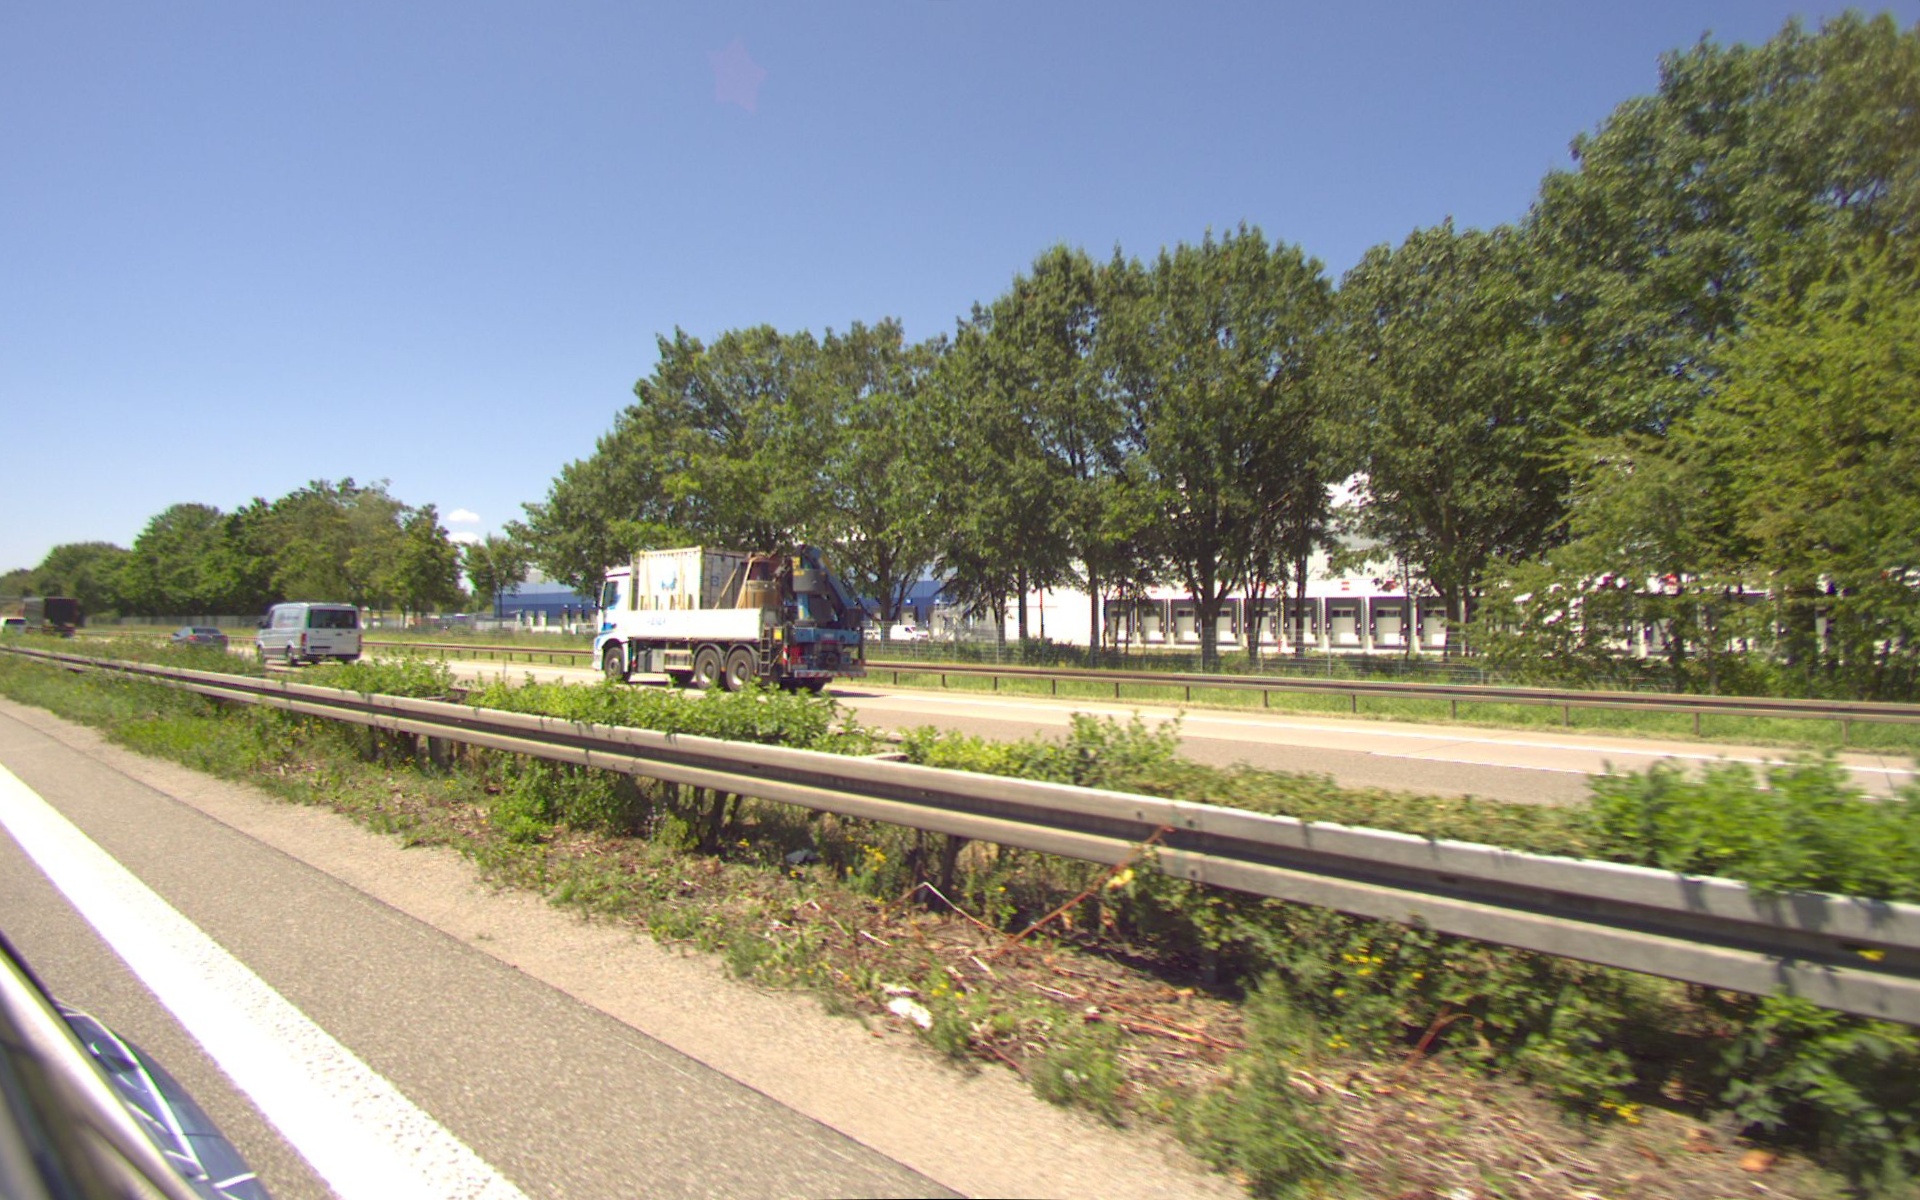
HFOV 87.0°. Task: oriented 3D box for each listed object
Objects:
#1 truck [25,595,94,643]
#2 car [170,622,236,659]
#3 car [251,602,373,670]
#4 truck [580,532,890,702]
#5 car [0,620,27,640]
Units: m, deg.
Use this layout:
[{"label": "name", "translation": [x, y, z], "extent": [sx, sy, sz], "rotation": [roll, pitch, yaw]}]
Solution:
[{"label": "truck", "translation": [-92.450, 1.873, 103.793], "extent": [11.983, 4.641, 4.369], "rotation": [-1, 0, 44]}, {"label": "car", "translation": [-37.379, 2.010, 49.938], "extent": [3.780, 1.718, 1.891], "rotation": [-2, -4, 43]}, {"label": "car", "translation": [-23.881, 1.321, 37.202], "extent": [5.602, 2.305, 2.287], "rotation": [-1, -4, 42]}, {"label": "truck", "translation": [-6.321, 0.457, 27.079], "extent": [9.596, 3.820, 2.973], "rotation": [-1, -2, 41]}, {"label": "car", "translation": [-87.059, 2.735, 92.919], "extent": [3.849, 1.667, 1.660], "rotation": [-1, 0, 42]}]
